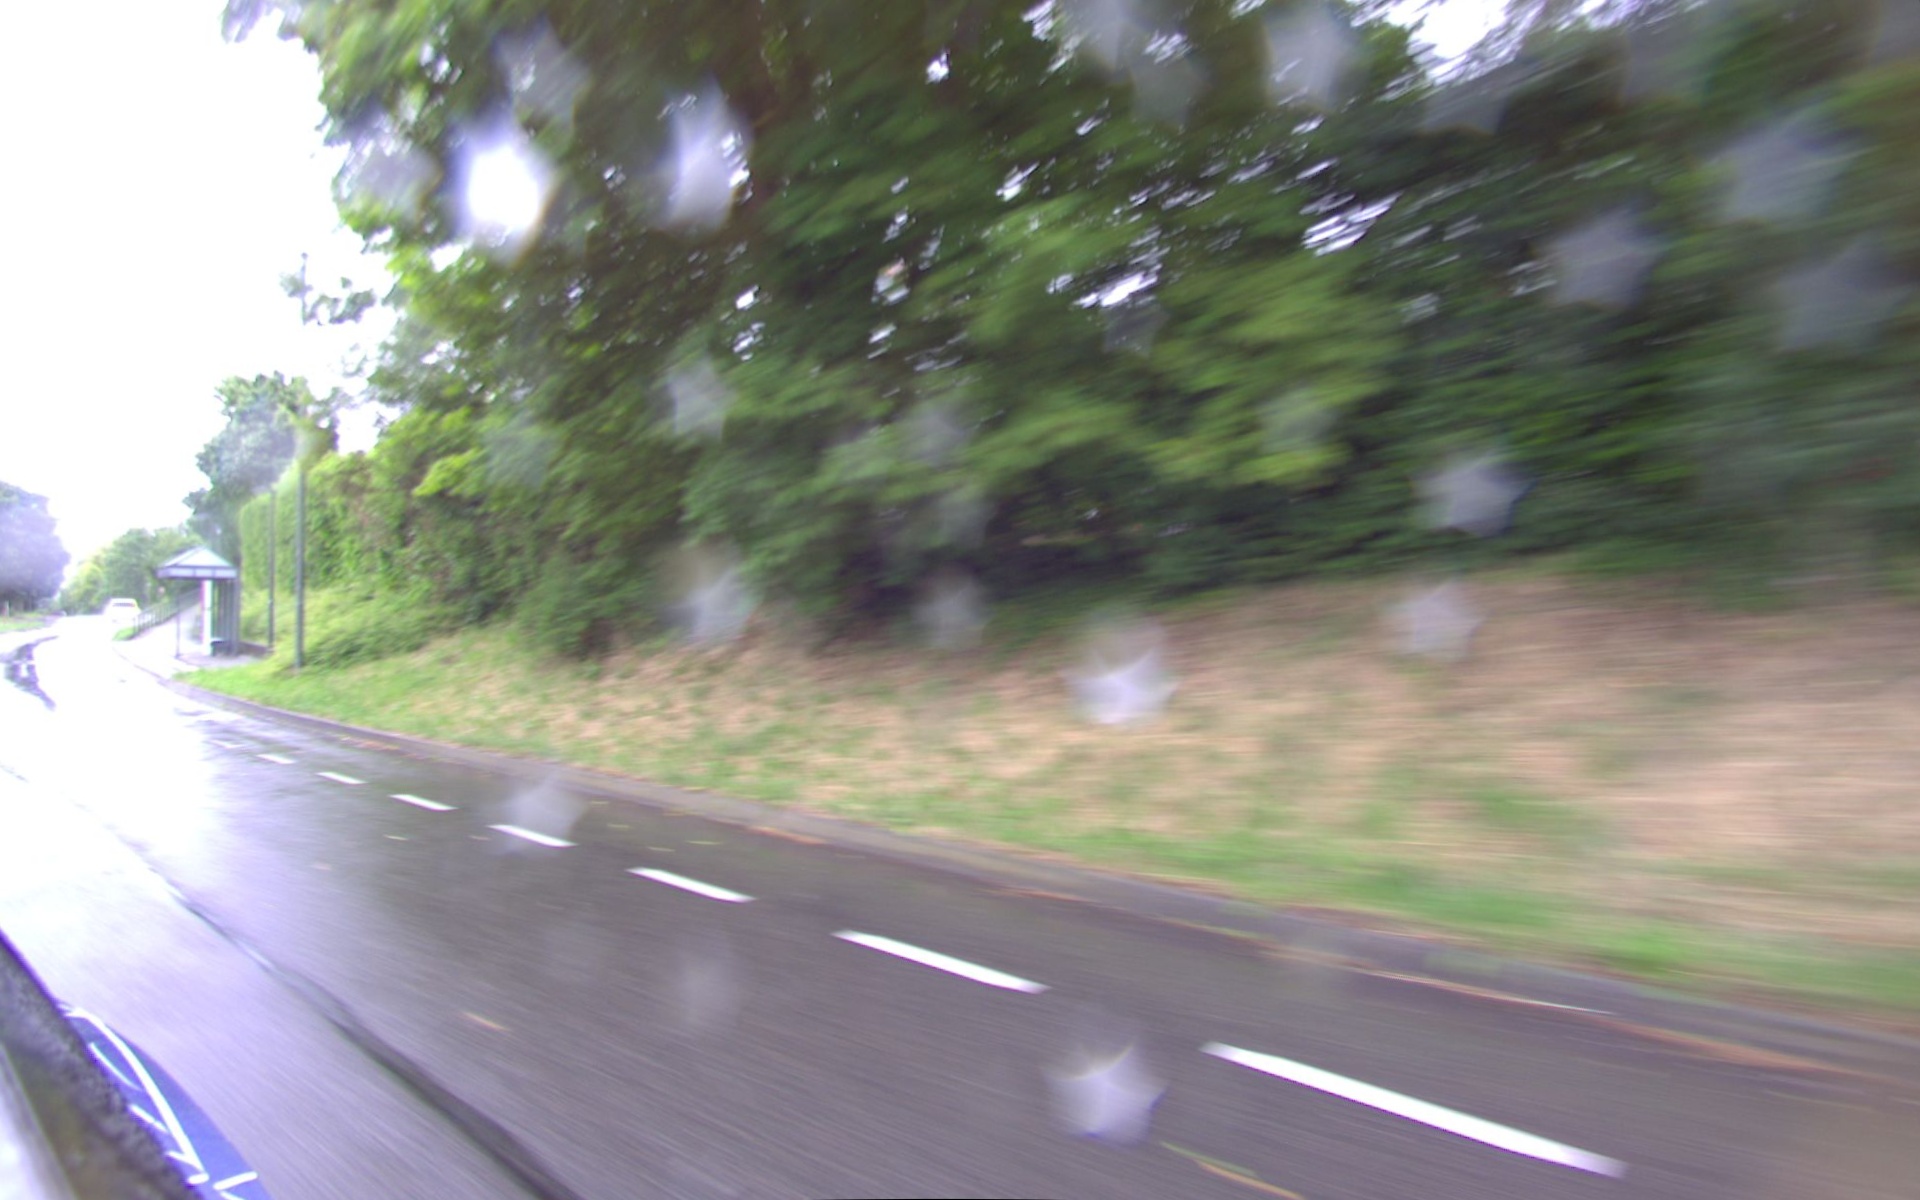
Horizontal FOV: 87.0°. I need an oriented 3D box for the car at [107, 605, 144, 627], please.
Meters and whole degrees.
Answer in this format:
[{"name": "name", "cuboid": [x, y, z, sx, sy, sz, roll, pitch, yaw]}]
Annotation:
[{"name": "car", "cuboid": [-54.710, 1.040, 66.394, 1.551, 1.421, 3.483, 3, -2, -35]}]
